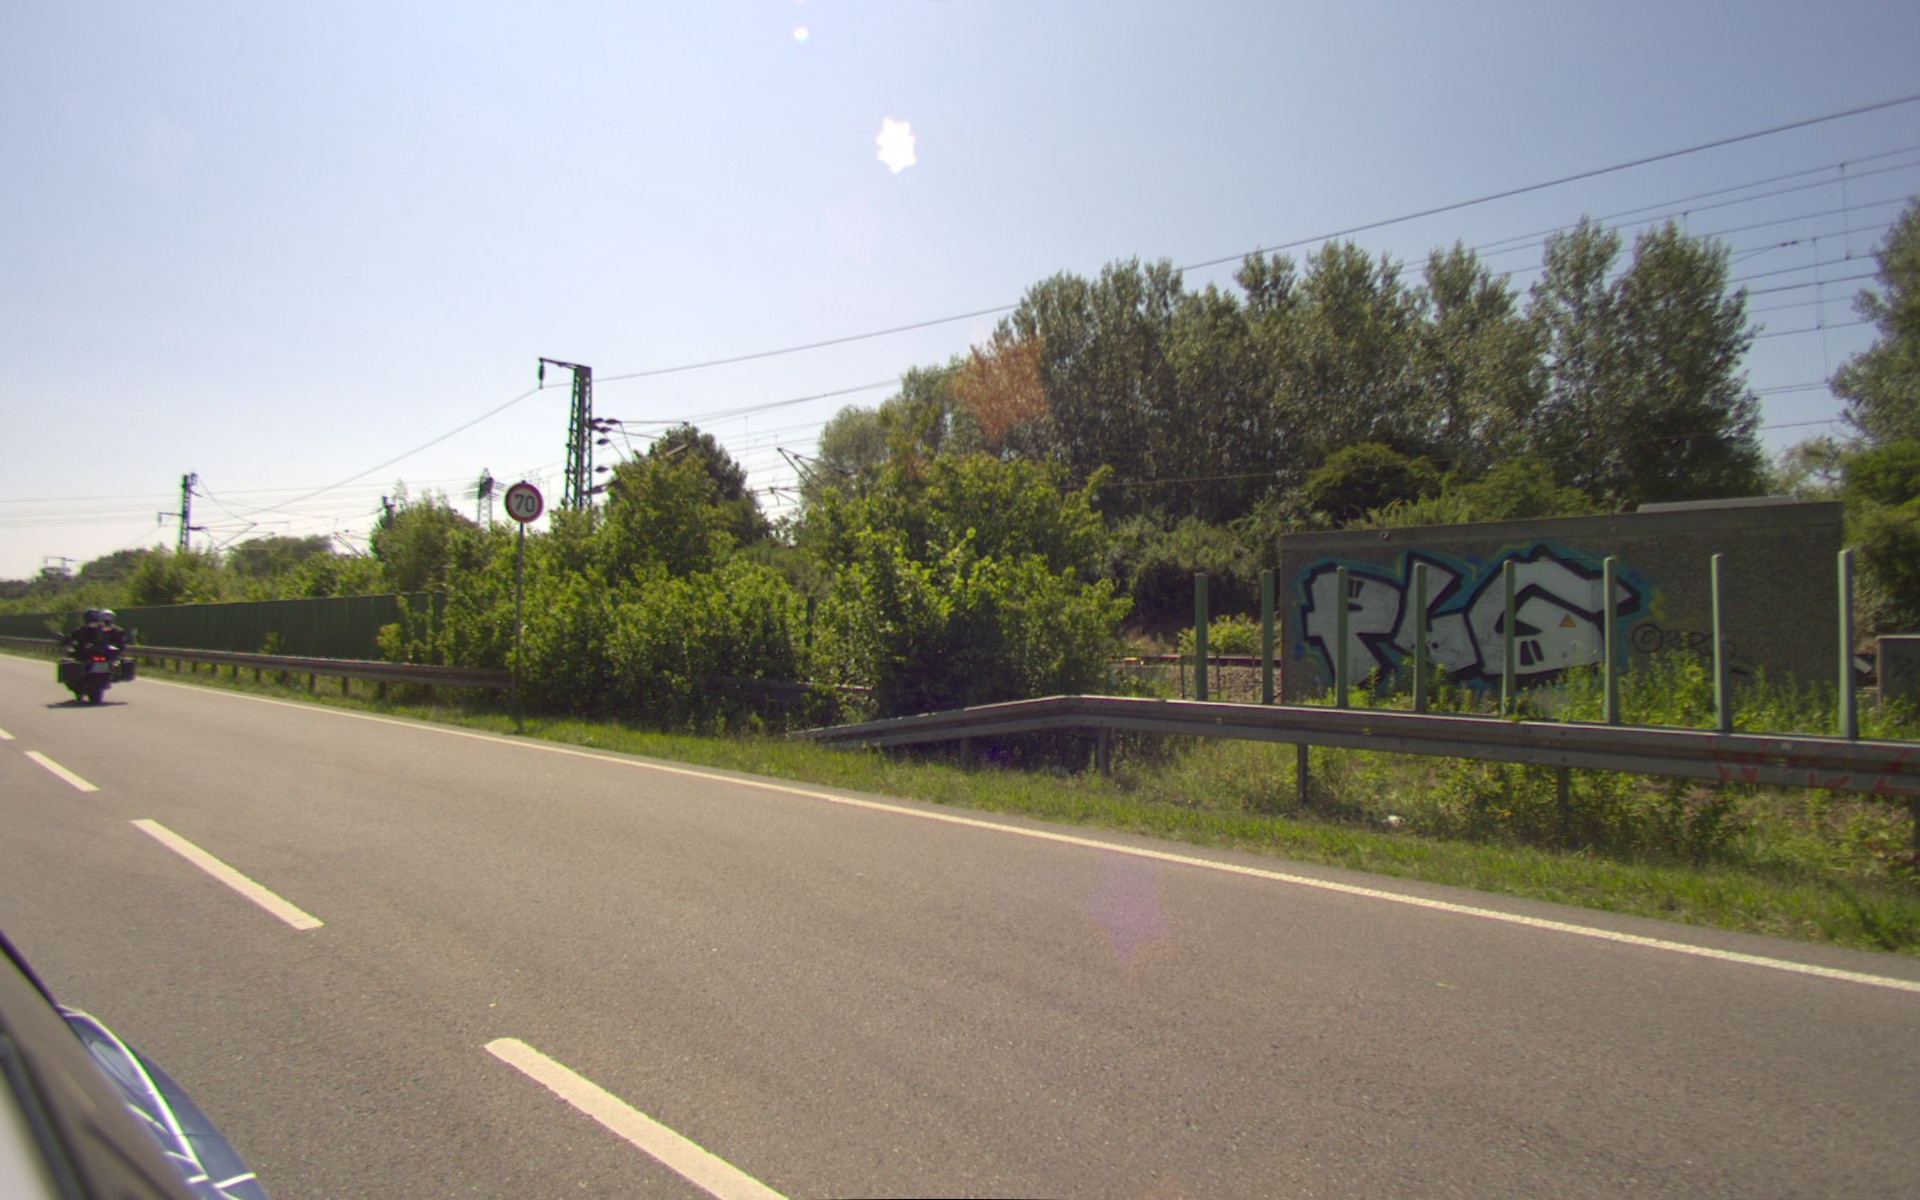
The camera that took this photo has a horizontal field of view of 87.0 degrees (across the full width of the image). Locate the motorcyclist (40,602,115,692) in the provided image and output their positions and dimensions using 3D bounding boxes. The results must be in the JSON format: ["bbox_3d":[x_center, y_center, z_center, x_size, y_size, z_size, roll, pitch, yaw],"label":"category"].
[{"bbox_3d":[-16.610,0.867,19.046,1.003,1.621,0.949,-1,0,43],"label":"motorcyclist"}]

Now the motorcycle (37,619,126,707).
[{"bbox_3d":[-16.342,1.117,18.800,2.630,1.507,0.958,-1,0,43],"label":"motorcycle"}]

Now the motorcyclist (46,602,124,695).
[{"bbox_3d":[-15.872,0.851,18.358,1.003,1.621,0.949,-1,0,43],"label":"motorcyclist"}]
